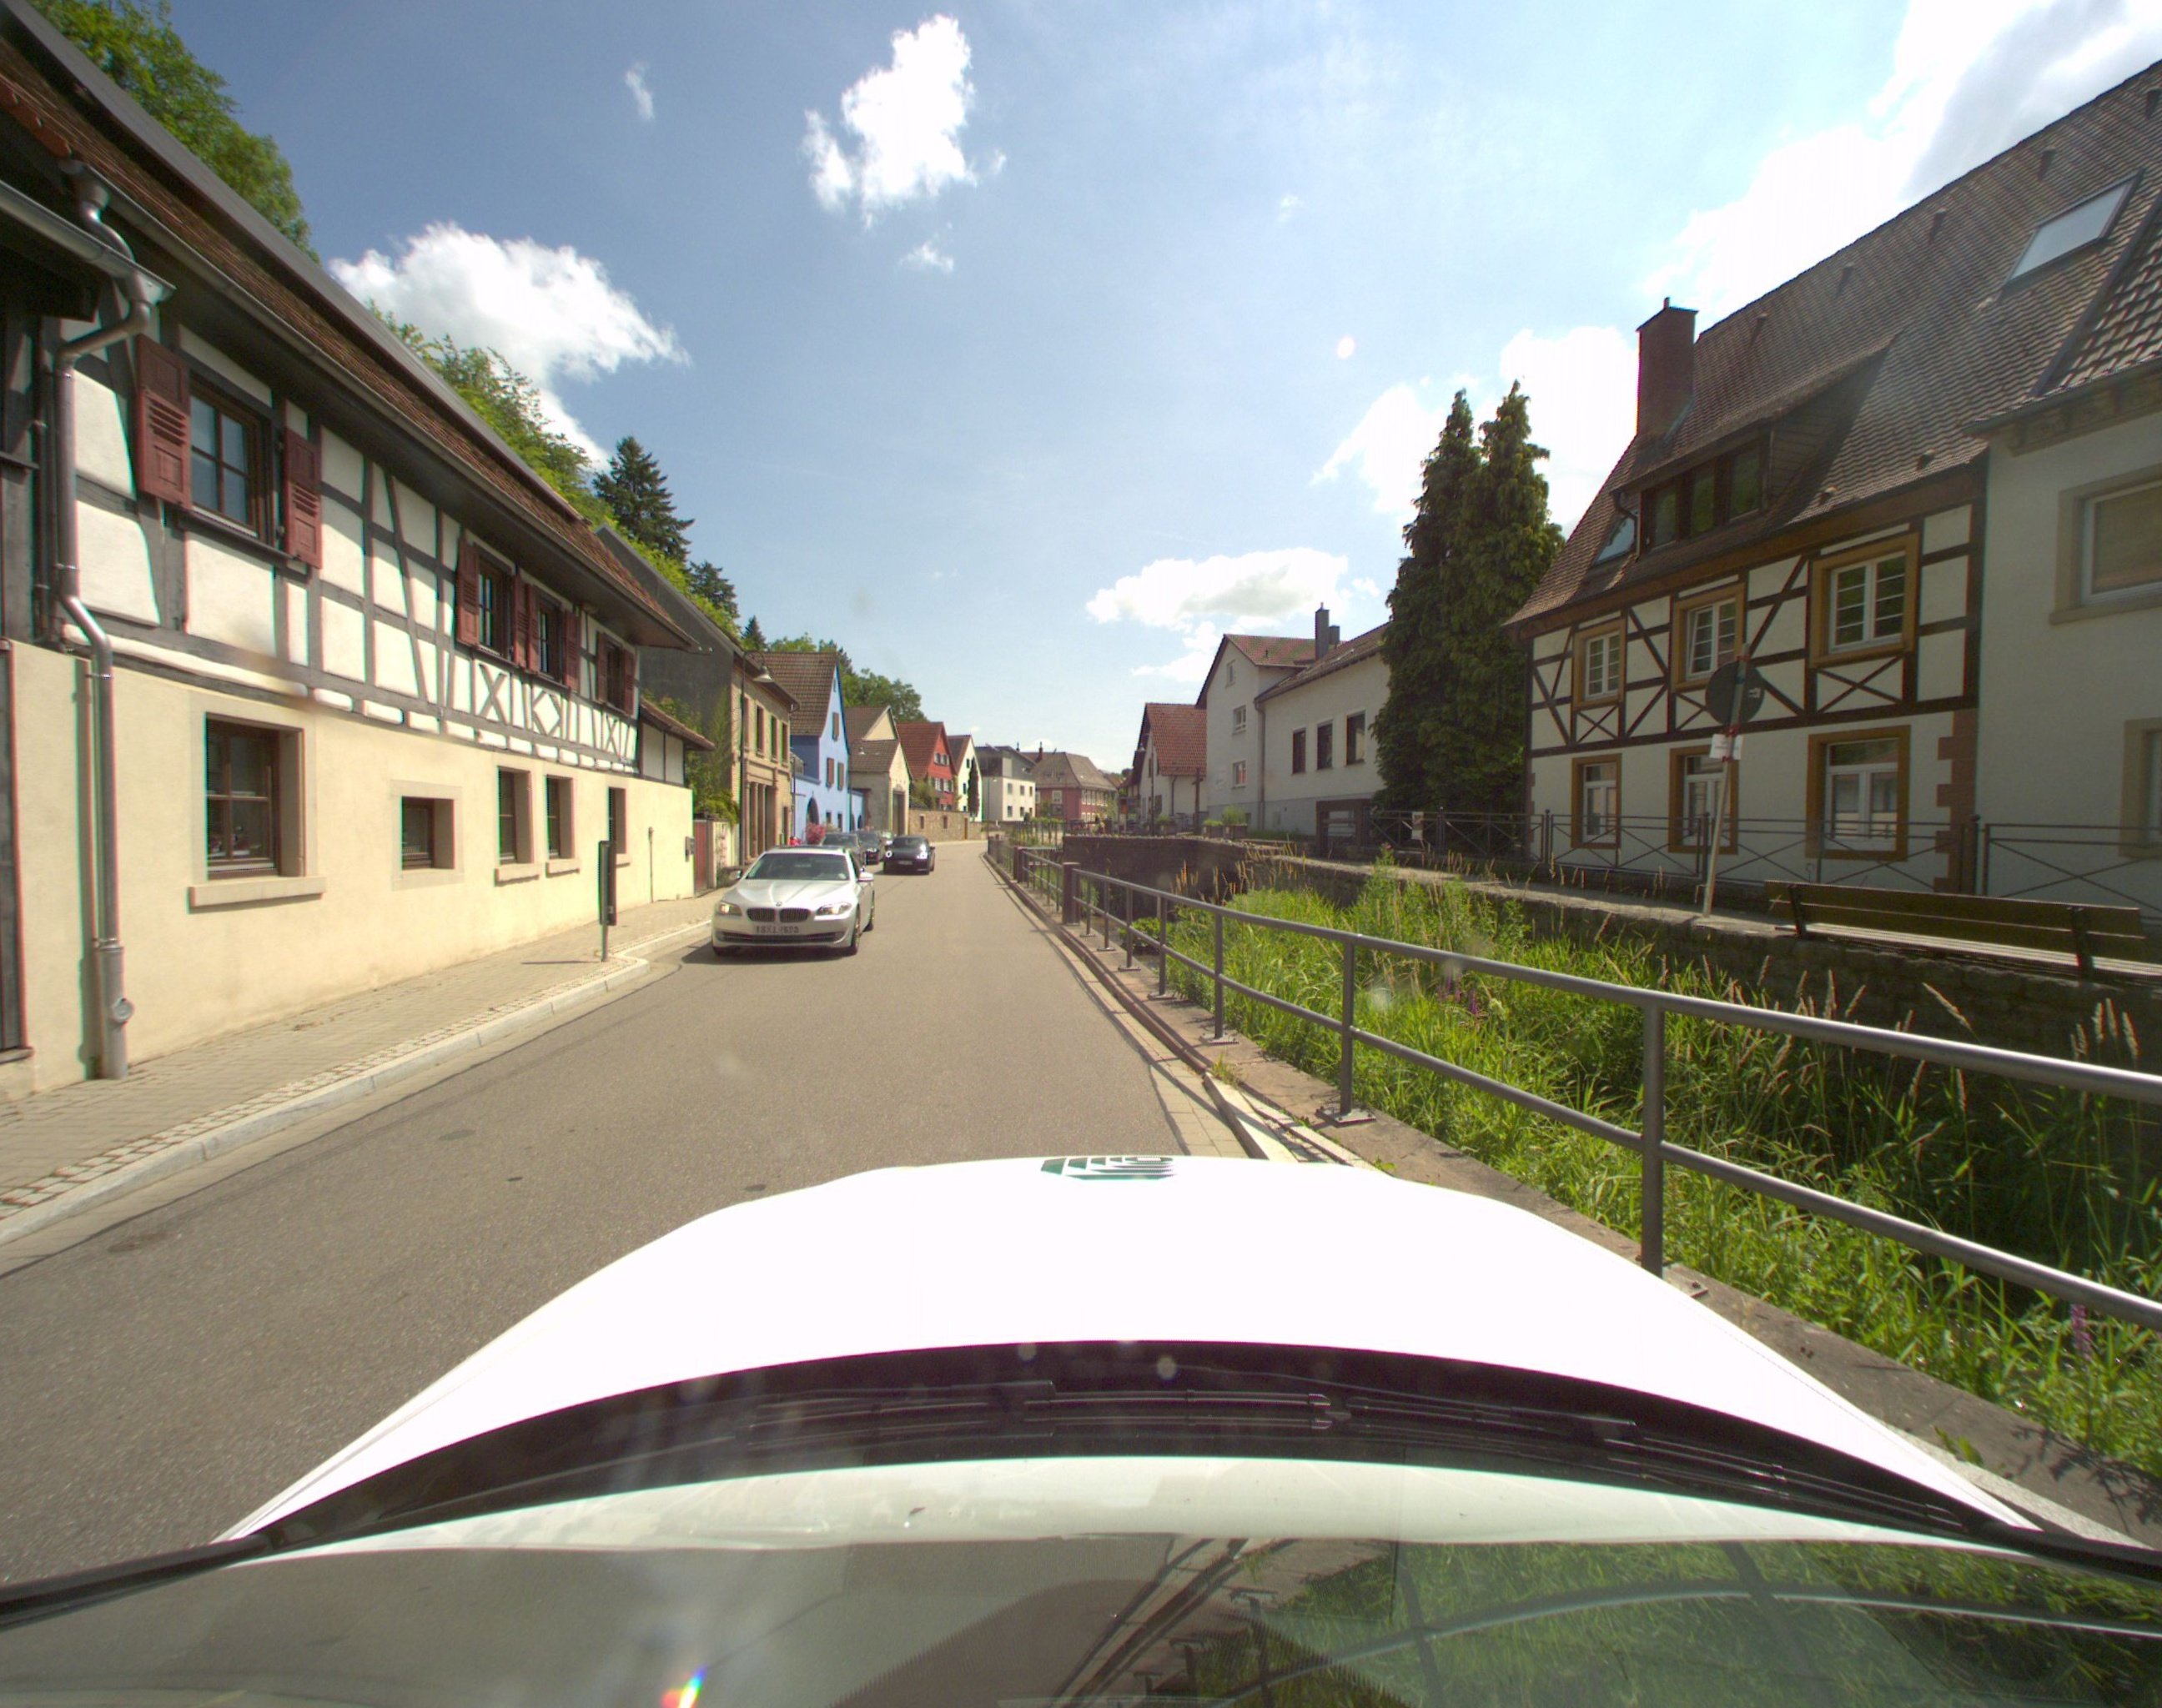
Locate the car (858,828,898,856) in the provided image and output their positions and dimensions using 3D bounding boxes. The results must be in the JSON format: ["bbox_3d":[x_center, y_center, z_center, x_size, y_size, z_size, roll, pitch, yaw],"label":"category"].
[{"bbox_3d":[-11.946,-0.731,48.044,1.715,1.529,3.849,-1,3,-6],"label":"car"}]

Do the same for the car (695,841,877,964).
[{"bbox_3d":[-4.240,0.570,12.462,1.896,1.500,4.597,1,1,-11],"label":"car"}]

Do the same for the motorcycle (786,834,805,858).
[{"bbox_3d":[-12.598,-0.367,35.915,0.418,1.001,1.852,5,0,-10],"label":"motorcycle"}]

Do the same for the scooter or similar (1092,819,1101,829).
[{"bbox_3d":[1.689,-3.276,89.411,0.641,1.142,1.807,-1,2,-8],"label":"scooter or similar"}]

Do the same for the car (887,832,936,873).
[{"bbox_3d":[-6.614,-0.100,32.072,1.699,1.465,4.420,-1,1,-10],"label":"car"}]

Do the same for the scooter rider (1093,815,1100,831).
[{"bbox_3d":[1.682,-3.416,89.443,0.641,1.731,0.553,1,1,-9],"label":"scooter rider"}]

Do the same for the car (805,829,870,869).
[{"bbox_3d":[-9.827,-0.233,33.187,1.957,1.465,4.531,1,1,-10],"label":"car"}]

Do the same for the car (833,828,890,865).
[{"bbox_3d":[-10.162,-0.414,38.015,1.884,1.463,4.657,3,2,-8],"label":"car"}]
